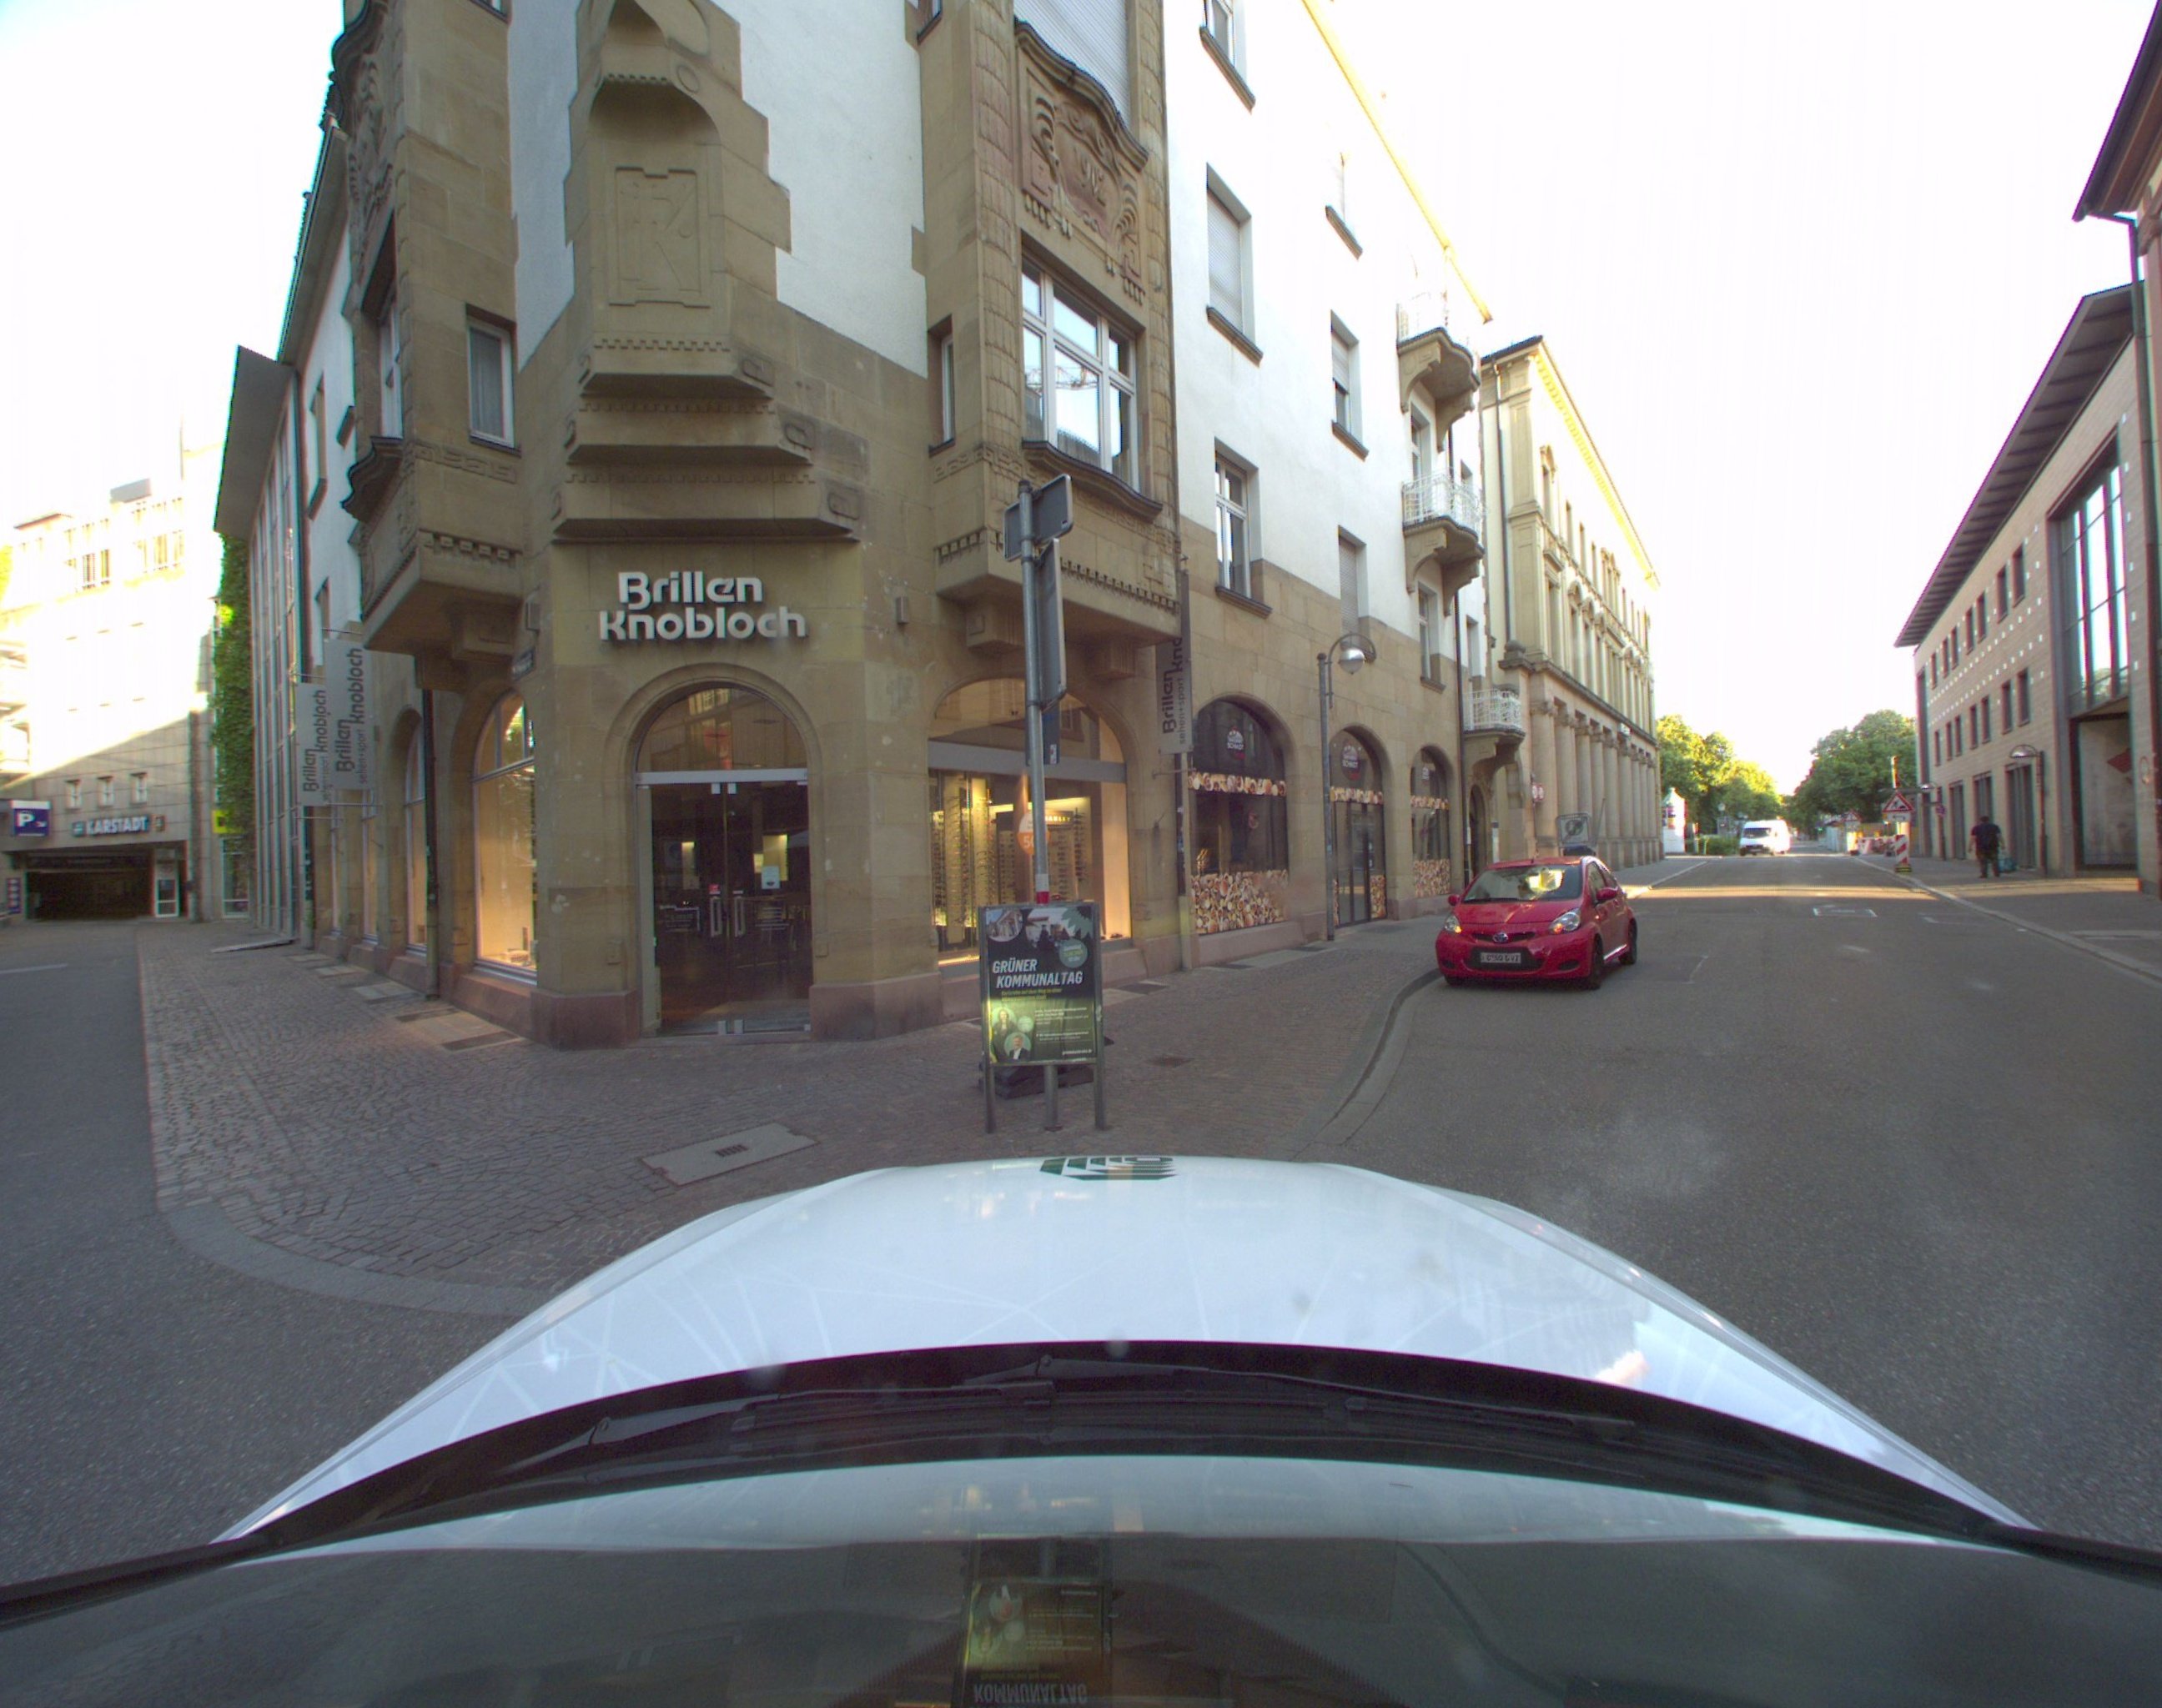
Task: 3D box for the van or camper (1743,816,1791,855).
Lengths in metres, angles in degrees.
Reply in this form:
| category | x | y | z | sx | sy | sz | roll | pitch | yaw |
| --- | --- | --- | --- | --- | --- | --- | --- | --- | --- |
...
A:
| category | x | y | z | sx | sy | sz | roll | pitch | yaw |
| --- | --- | --- | --- | --- | --- | --- | --- | --- | --- |
| van or camper | 49.137 | -1.328 | 58.270 | 2.198 | 2.585 | 6.410 | -2 | 0 | 44 |

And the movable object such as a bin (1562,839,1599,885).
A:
| category | x | y | z | sx | sy | sz | roll | pitch | yaw |
| --- | --- | --- | --- | --- | --- | --- | --- | --- | --- |
| movable object such as a bin | 17.047 | 0.261 | 27.788 | 0.821 | 1.503 | 1.299 | -1 | 0 | 42 |

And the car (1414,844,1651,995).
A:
| category | x | y | z | sx | sy | sz | roll | pitch | yaw |
| --- | --- | --- | --- | --- | --- | --- | --- | --- | --- |
| car | 5.792 | 0.694 | 10.212 | 1.642 | 1.470 | 3.956 | -6 | -2 | 42 |

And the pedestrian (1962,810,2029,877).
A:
| category | x | y | z | sx | sy | sz | roll | pitch | yaw |
| --- | --- | --- | --- | --- | --- | --- | --- | --- | --- |
| pedestrian | 26.166 | -0.291 | 23.322 | 0.991 | 1.803 | 0.887 | -7 | -5 | 41 |
